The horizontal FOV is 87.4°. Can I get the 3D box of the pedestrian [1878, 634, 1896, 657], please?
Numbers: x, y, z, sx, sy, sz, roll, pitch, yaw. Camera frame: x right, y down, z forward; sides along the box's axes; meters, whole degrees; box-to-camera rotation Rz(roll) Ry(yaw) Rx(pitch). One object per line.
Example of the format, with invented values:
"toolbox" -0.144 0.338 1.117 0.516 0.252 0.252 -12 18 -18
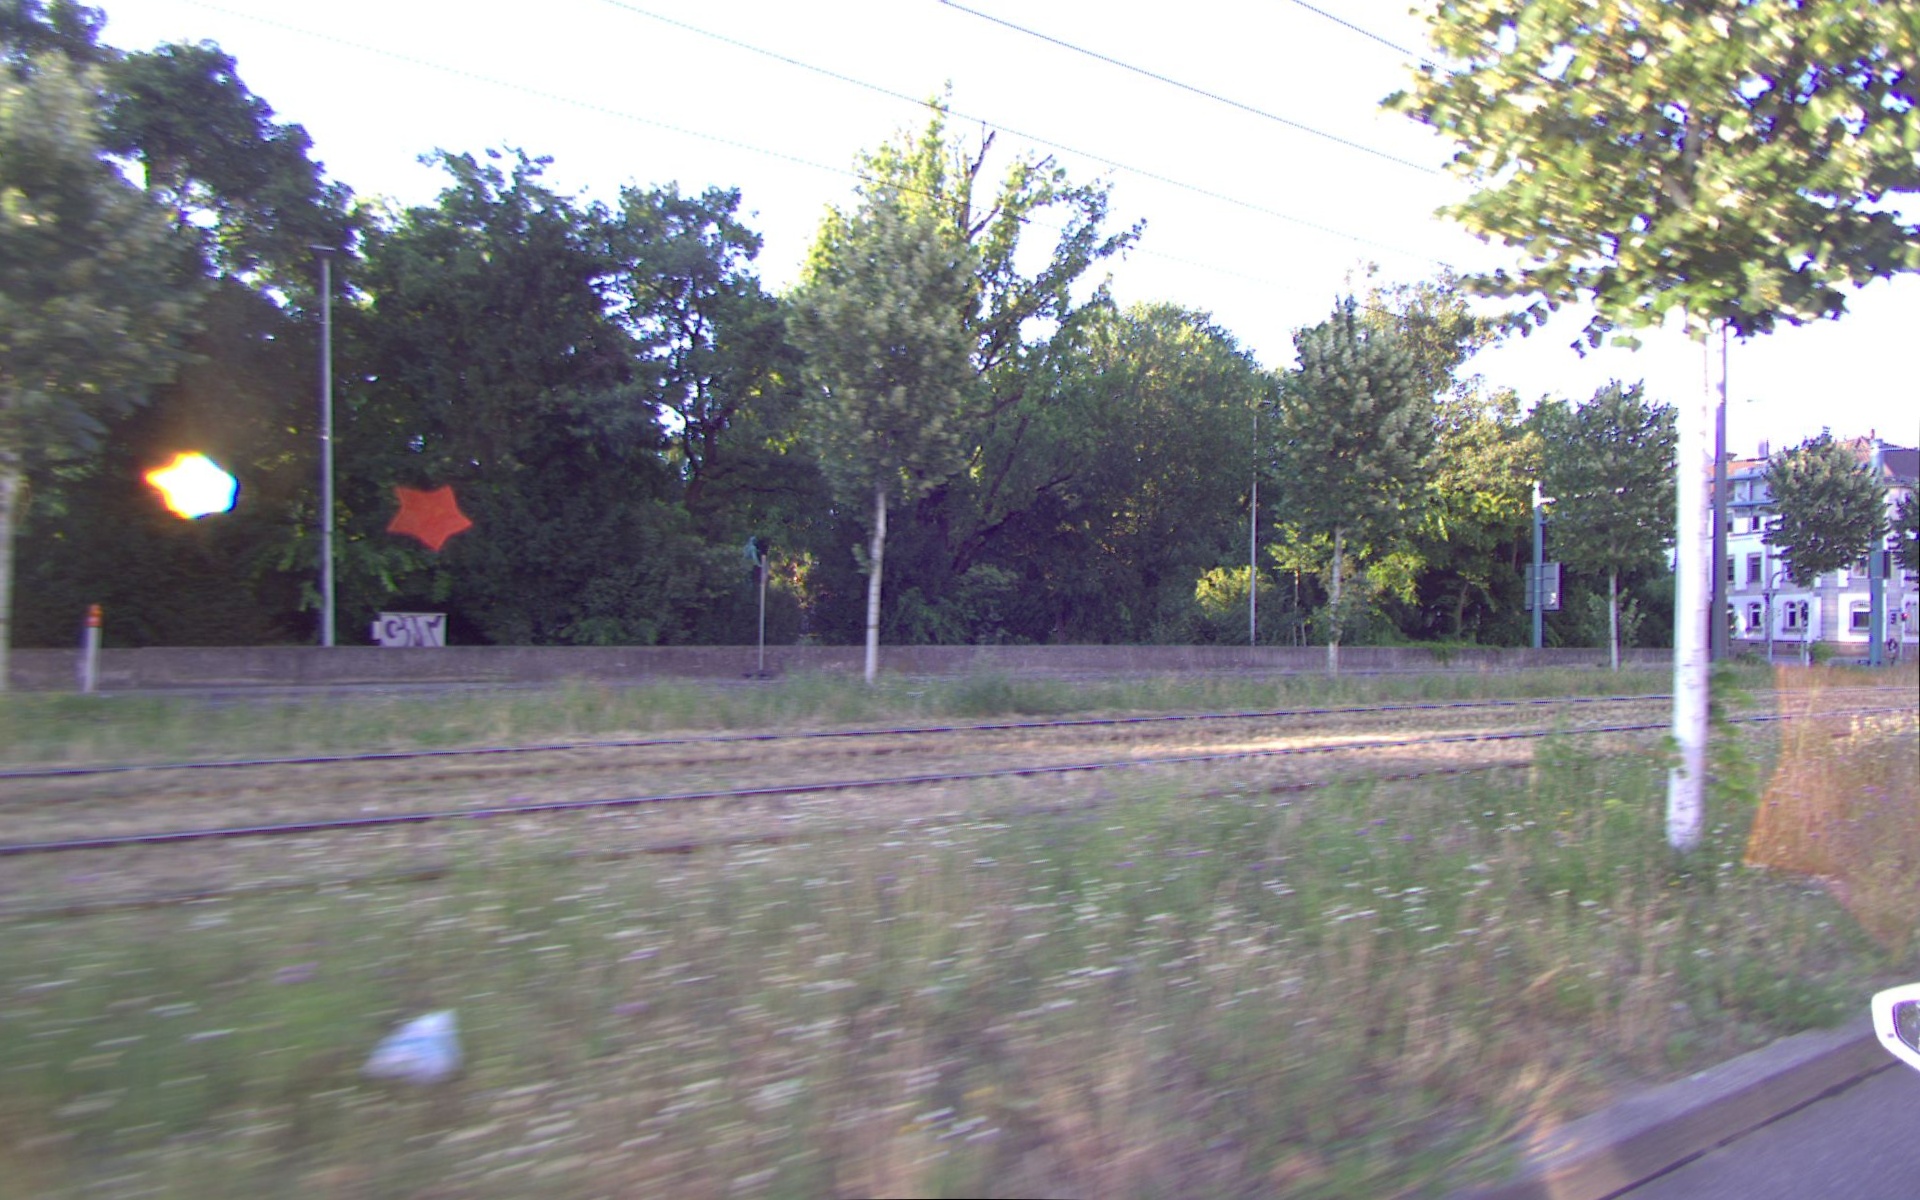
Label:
"pedestrian" 61.320 3.009 66.445 0.926 1.478 0.600 1 0 -33
